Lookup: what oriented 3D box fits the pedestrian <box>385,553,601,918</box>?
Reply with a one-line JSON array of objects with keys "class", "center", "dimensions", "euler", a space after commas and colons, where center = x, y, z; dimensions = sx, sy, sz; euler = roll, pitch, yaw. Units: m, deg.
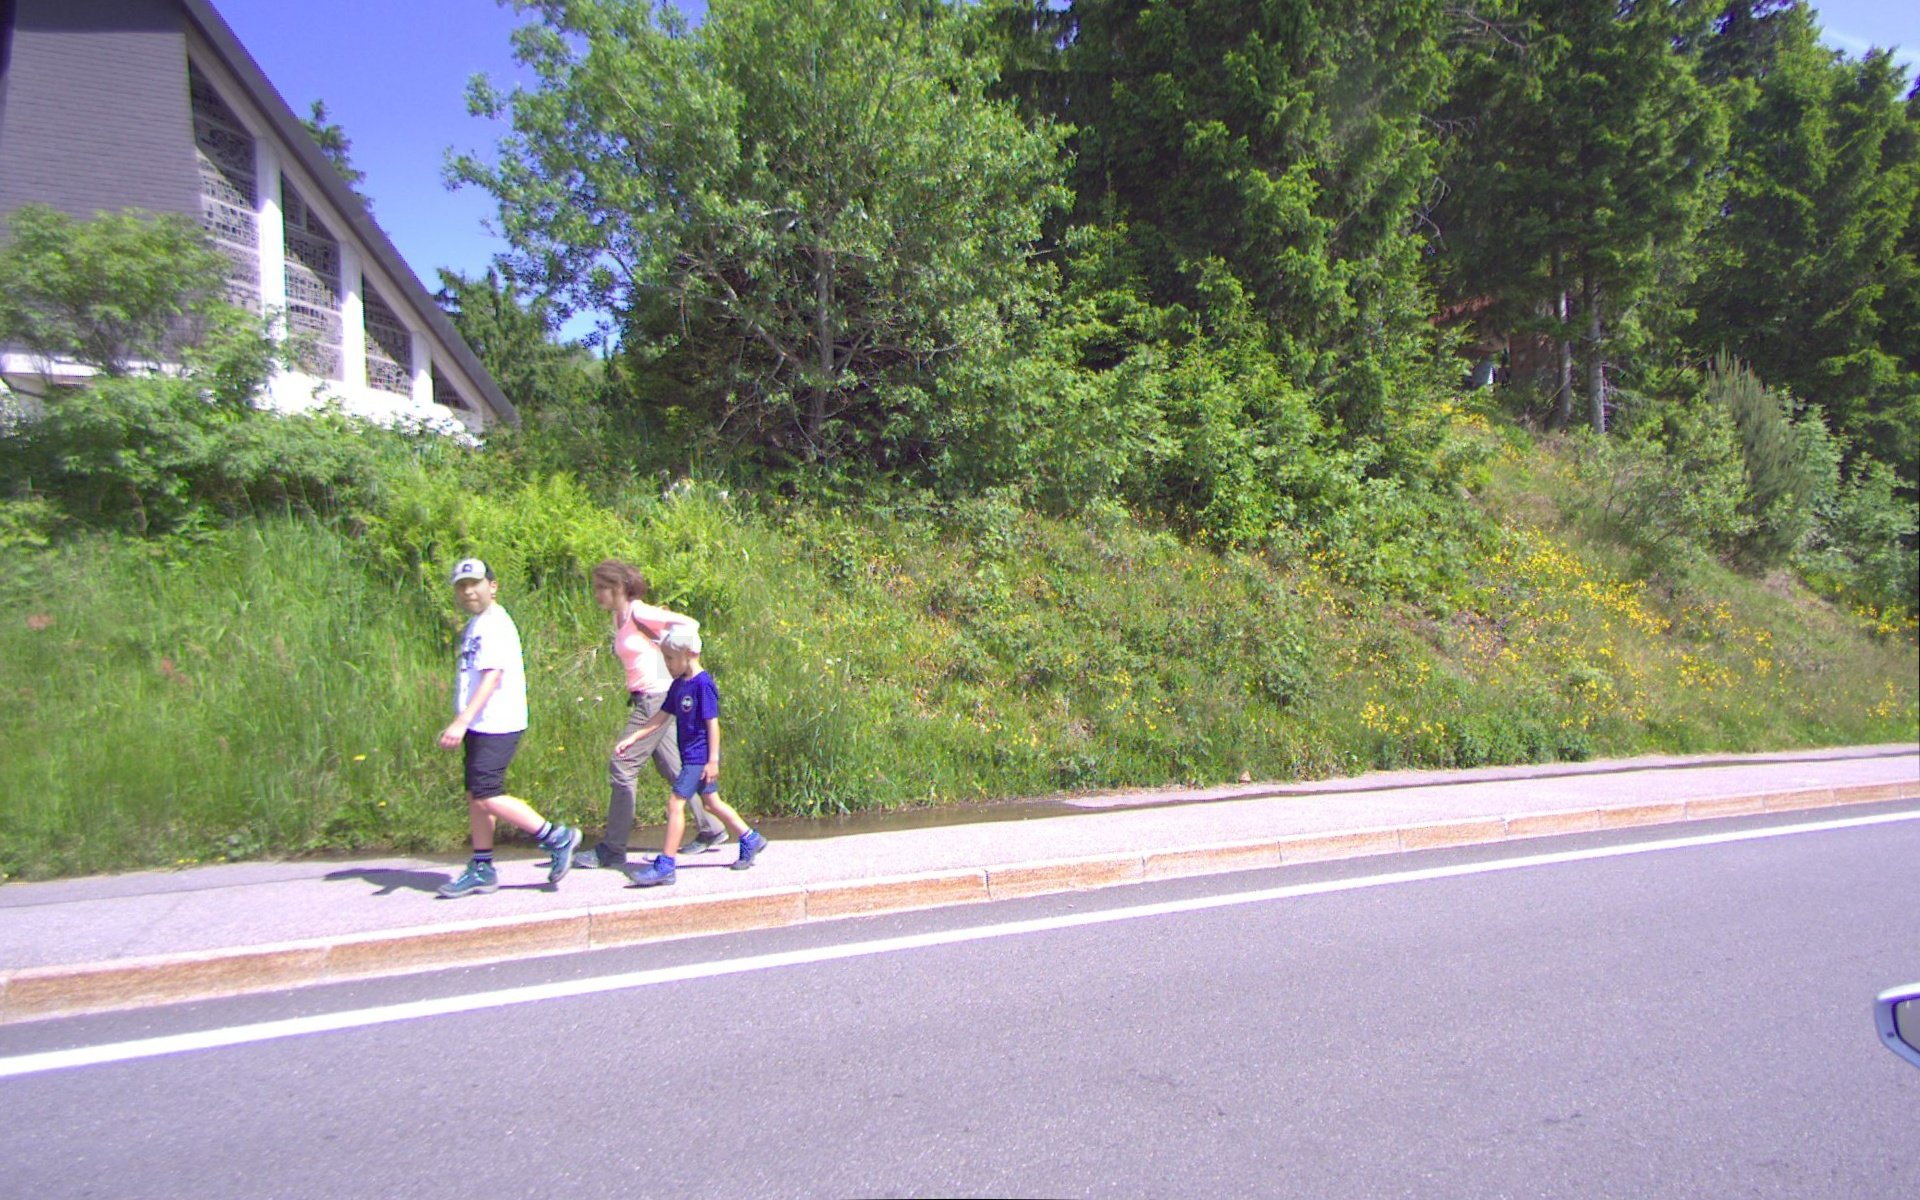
[{"class": "pedestrian", "center": [-2.191, 0.589, 4.753], "dimensions": [0.868, 1.558, 0.578], "euler": [0, -1, -26]}]

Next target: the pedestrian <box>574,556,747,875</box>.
[{"class": "pedestrian", "center": [-1.702, 0.611, 5.680], "dimensions": [0.881, 1.664, 0.575], "euler": [0, -1, -23]}]

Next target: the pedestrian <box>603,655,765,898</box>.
[{"class": "pedestrian", "center": [-1.421, 0.852, 5.142], "dimensions": [0.734, 1.116, 0.567], "euler": [0, -1, -23]}]
